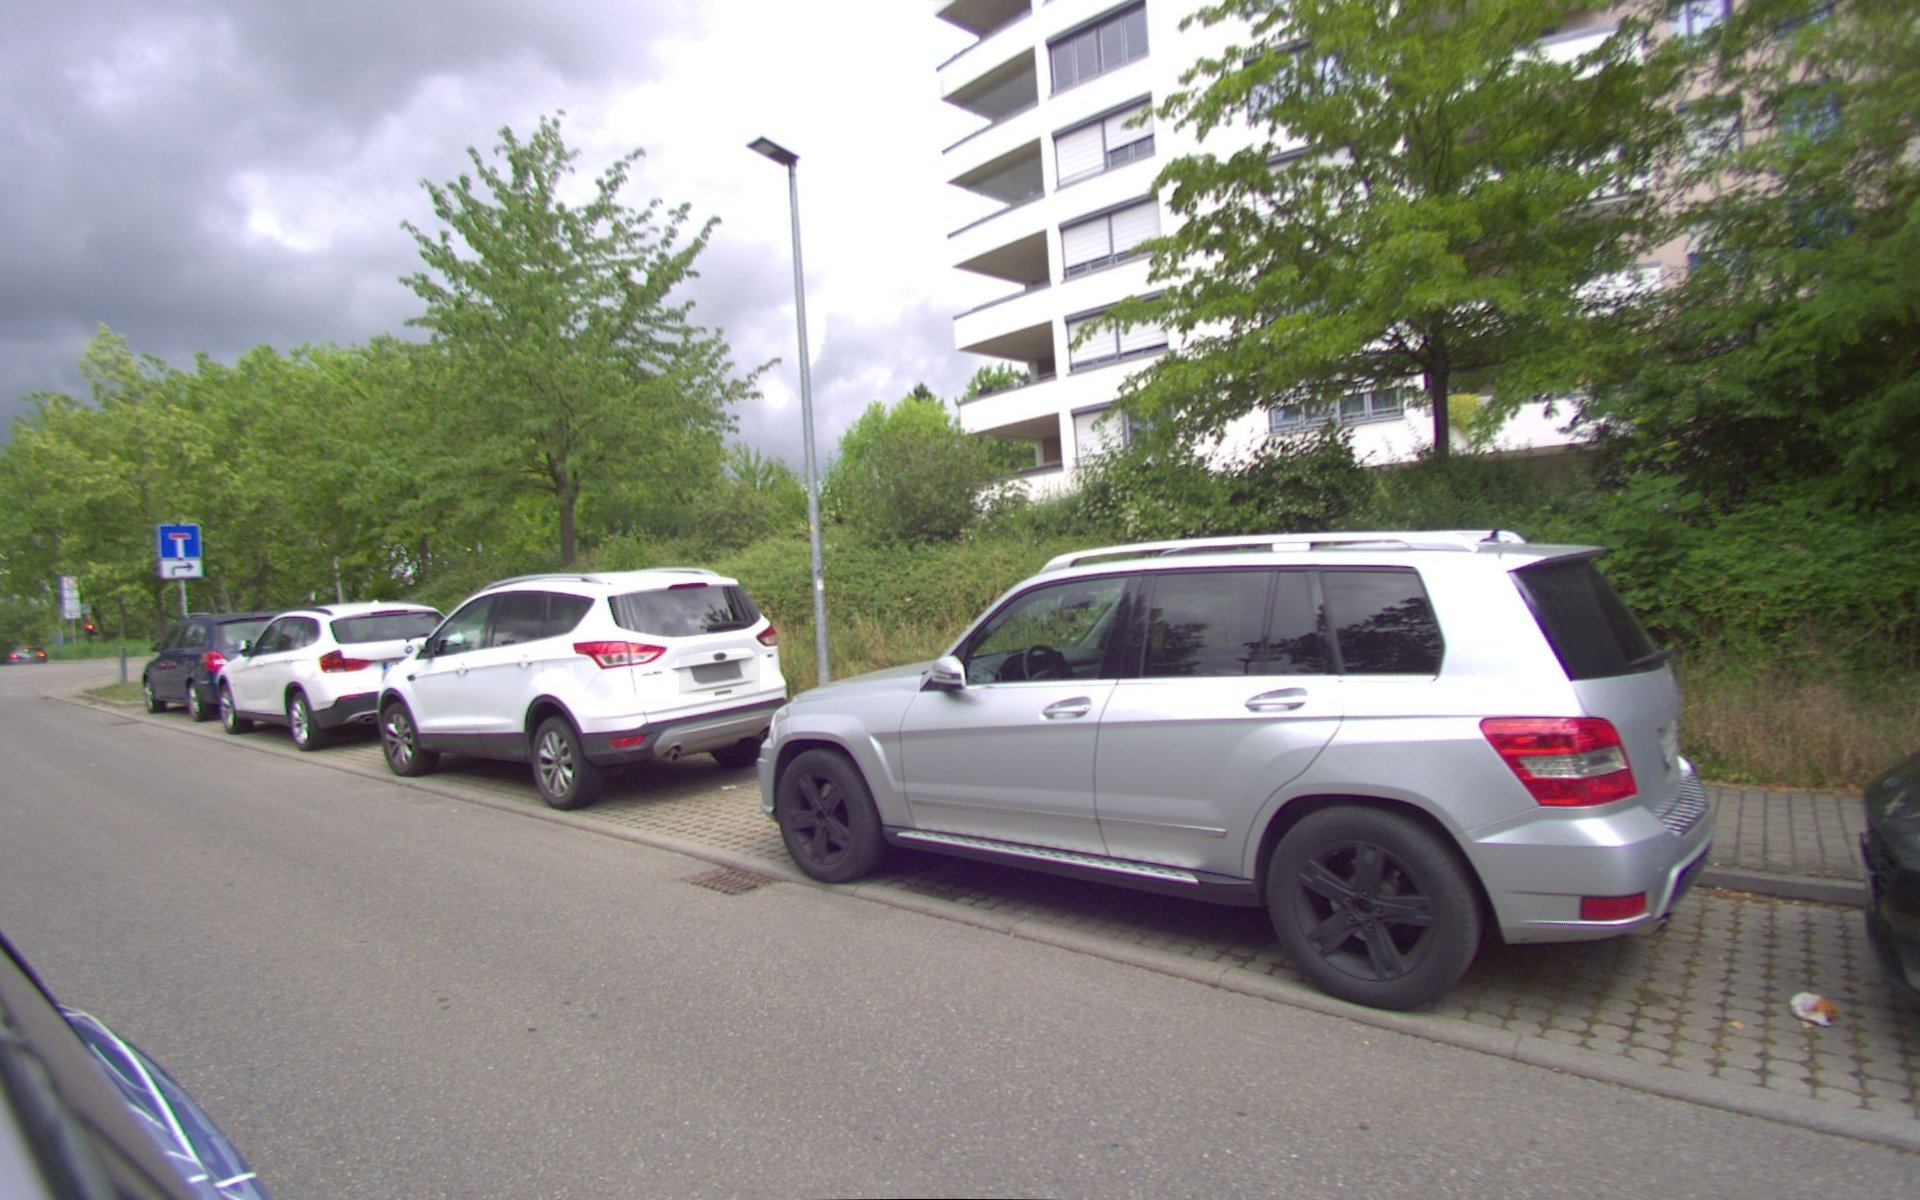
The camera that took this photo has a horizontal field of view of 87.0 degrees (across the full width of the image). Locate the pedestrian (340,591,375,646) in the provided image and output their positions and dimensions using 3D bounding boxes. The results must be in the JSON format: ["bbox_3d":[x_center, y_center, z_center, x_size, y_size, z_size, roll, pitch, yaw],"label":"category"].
[{"bbox_3d":[-18.605,0.565,31.252,0.718,1.623,0.626,-6,-2,36],"label":"pedestrian"}]

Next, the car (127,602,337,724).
[{"bbox_3d":[-11.200,0.919,15.467,3.951,1.498,1.673,-3,3,41],"label":"car"}]

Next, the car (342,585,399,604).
[{"bbox_3d":[-48.049,-0.474,82.554,1.639,1.475,3.980,-3,0,16],"label":"car"}]

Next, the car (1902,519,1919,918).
[{"bbox_3d":[4.708,0.432,1.699,4.454,1.475,1.673,-2,3,41],"label":"car"}]

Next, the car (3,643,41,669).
[{"bbox_3d":[-62.258,3.683,67.156,1.734,1.527,4.003,-3,0,-44],"label":"car"}]

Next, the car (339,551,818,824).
[{"bbox_3d":[-3.414,0.608,8.596,4.434,1.676,1.789,-3,3,41],"label":"car"}]

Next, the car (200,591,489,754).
[{"bbox_3d":[-7.511,0.803,12.184,4.228,1.522,1.673,-3,3,41],"label":"car"}]

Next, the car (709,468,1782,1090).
[{"bbox_3d":[0.942,0.480,4.775,4.475,1.627,1.781,-3,3,41],"label":"car"}]
